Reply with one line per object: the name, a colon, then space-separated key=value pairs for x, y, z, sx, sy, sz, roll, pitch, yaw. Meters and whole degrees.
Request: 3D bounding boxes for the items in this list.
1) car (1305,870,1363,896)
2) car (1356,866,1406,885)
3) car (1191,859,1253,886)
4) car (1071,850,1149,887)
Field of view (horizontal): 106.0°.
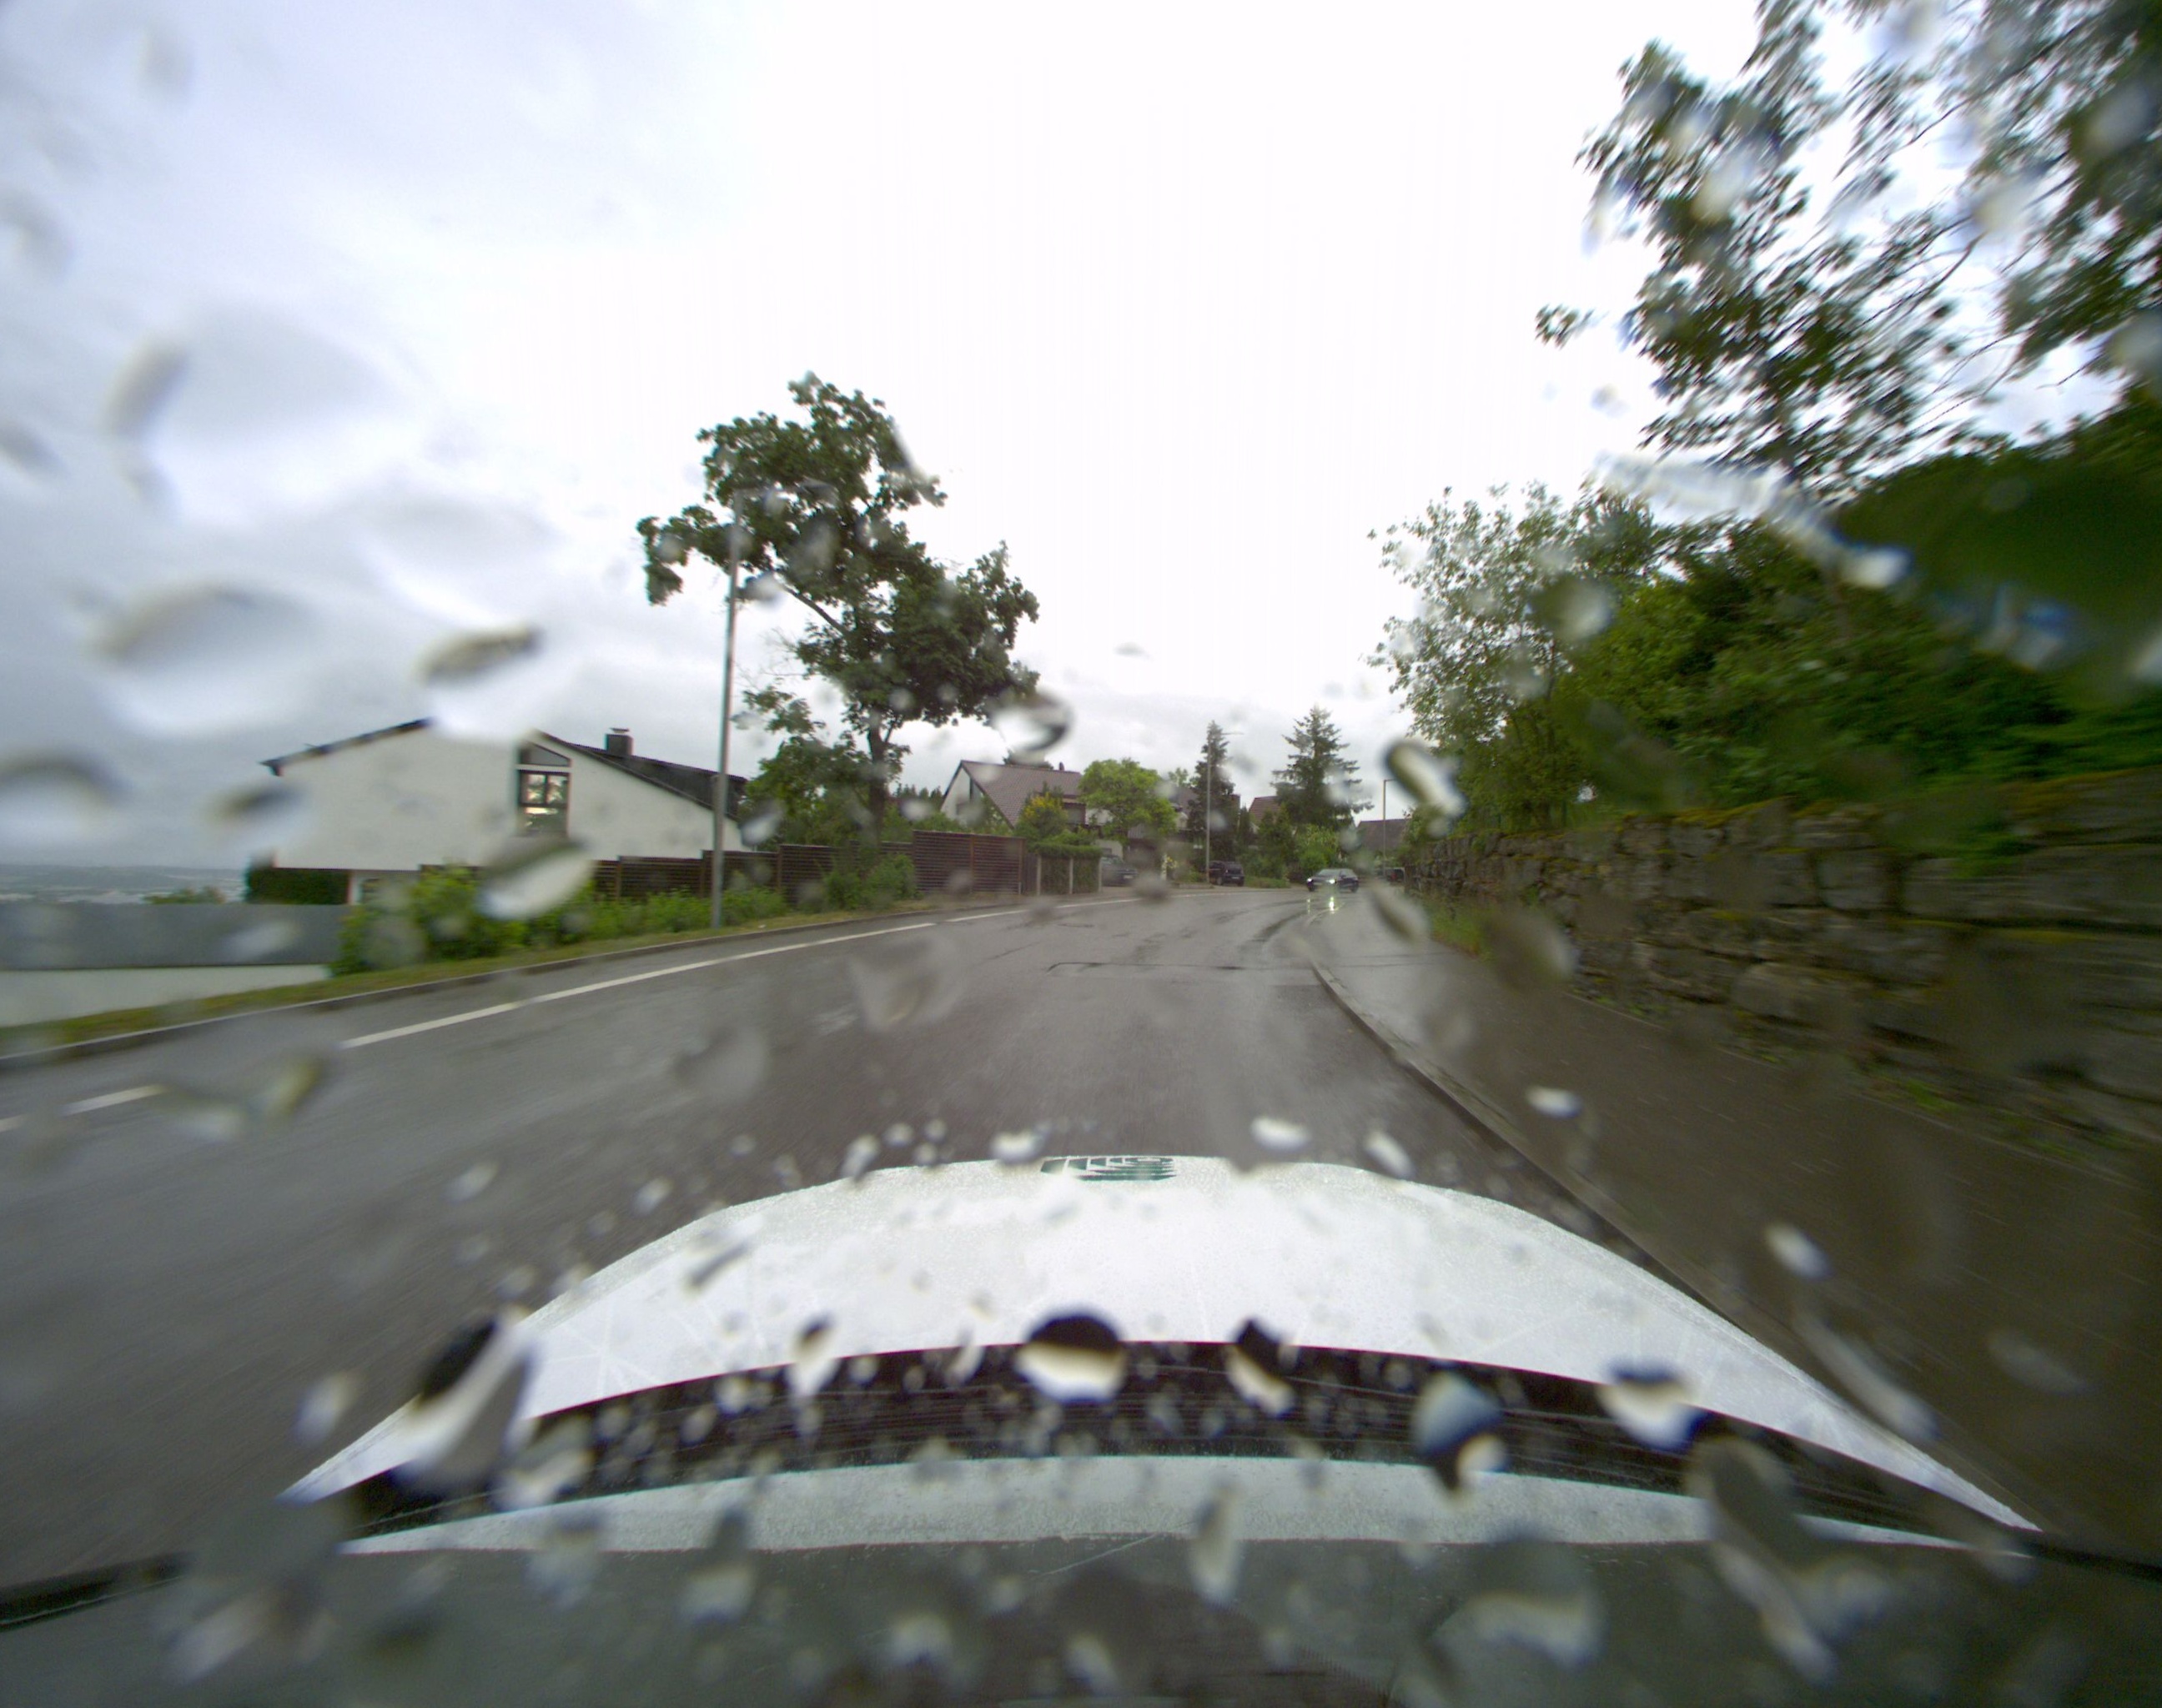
car: x=15.084 y=1.718 z=48.391 sx=1.760 sy=1.420 sz=4.191 roll=2 pitch=-1 yaw=40
car: x=28.036 y=1.983 z=76.133 sx=2.007 sy=1.620 sz=3.960 roll=2 pitch=-1 yaw=-32
car: x=8.510 y=1.092 z=49.573 sx=1.941 sy=1.389 sz=3.973 roll=4 pitch=0 yaw=-20
car: x=1.476 y=0.727 z=42.223 sx=2.022 sy=1.631 sz=3.959 roll=4 pitch=0 yaw=-34
